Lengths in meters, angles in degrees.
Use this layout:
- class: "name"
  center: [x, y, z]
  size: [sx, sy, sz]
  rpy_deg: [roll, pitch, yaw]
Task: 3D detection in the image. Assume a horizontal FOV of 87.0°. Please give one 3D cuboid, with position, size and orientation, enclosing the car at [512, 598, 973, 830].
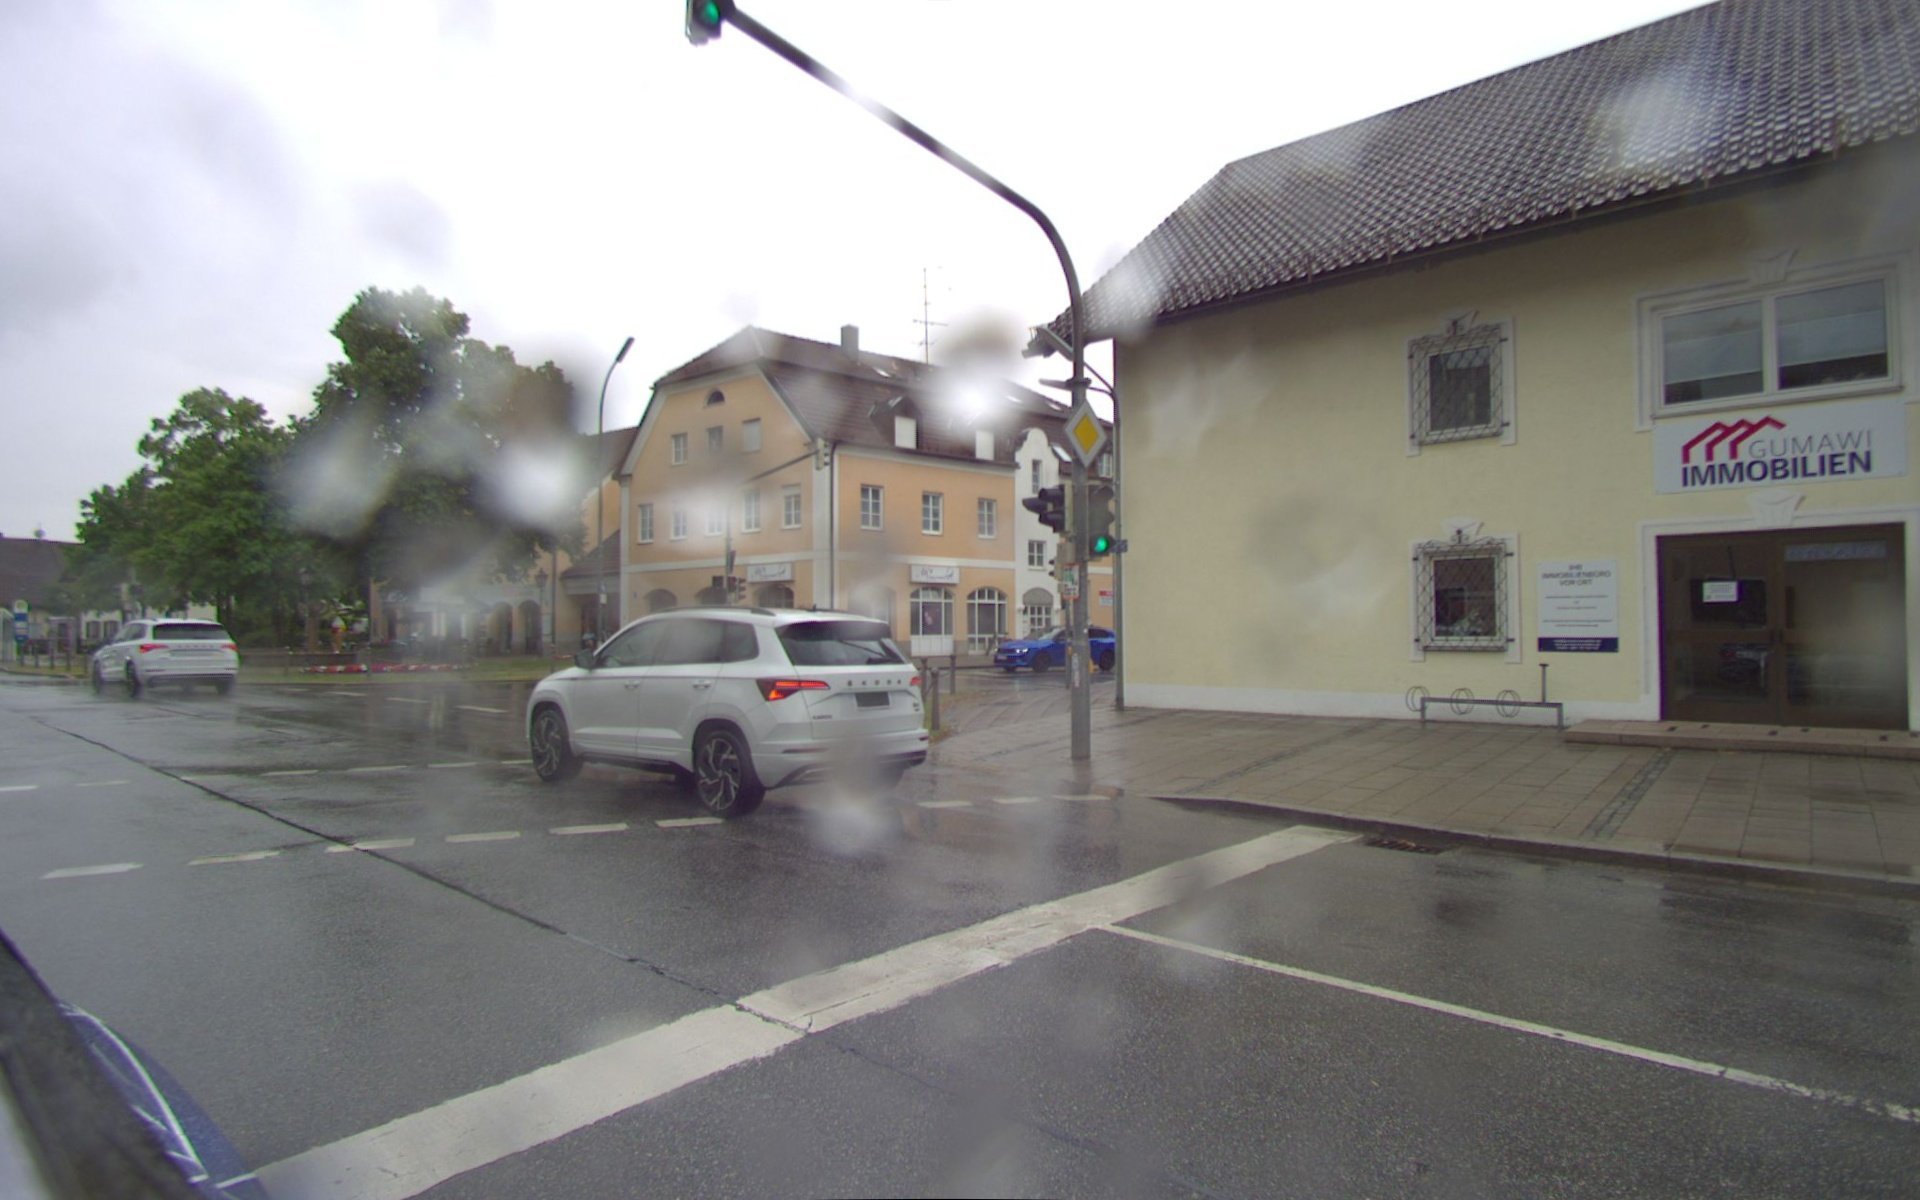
- class: "car"
  center: [-2.062, 0.840, 8.983]
  size: [4.123, 1.578, 1.907]
  rpy_deg: [-1, -2, 41]

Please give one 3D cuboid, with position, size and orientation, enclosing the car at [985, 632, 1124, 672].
- class: "car"
  center: [3.027, 1.605, 32.016]
  size: [4.288, 1.194, 1.693]
  rpy_deg: [1, -2, -35]

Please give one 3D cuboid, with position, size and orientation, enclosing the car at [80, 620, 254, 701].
- class: "car"
  center: [-17.004, 1.239, 21.650]
  size: [4.145, 1.575, 1.948]
  rpy_deg: [-1, -3, 38]
